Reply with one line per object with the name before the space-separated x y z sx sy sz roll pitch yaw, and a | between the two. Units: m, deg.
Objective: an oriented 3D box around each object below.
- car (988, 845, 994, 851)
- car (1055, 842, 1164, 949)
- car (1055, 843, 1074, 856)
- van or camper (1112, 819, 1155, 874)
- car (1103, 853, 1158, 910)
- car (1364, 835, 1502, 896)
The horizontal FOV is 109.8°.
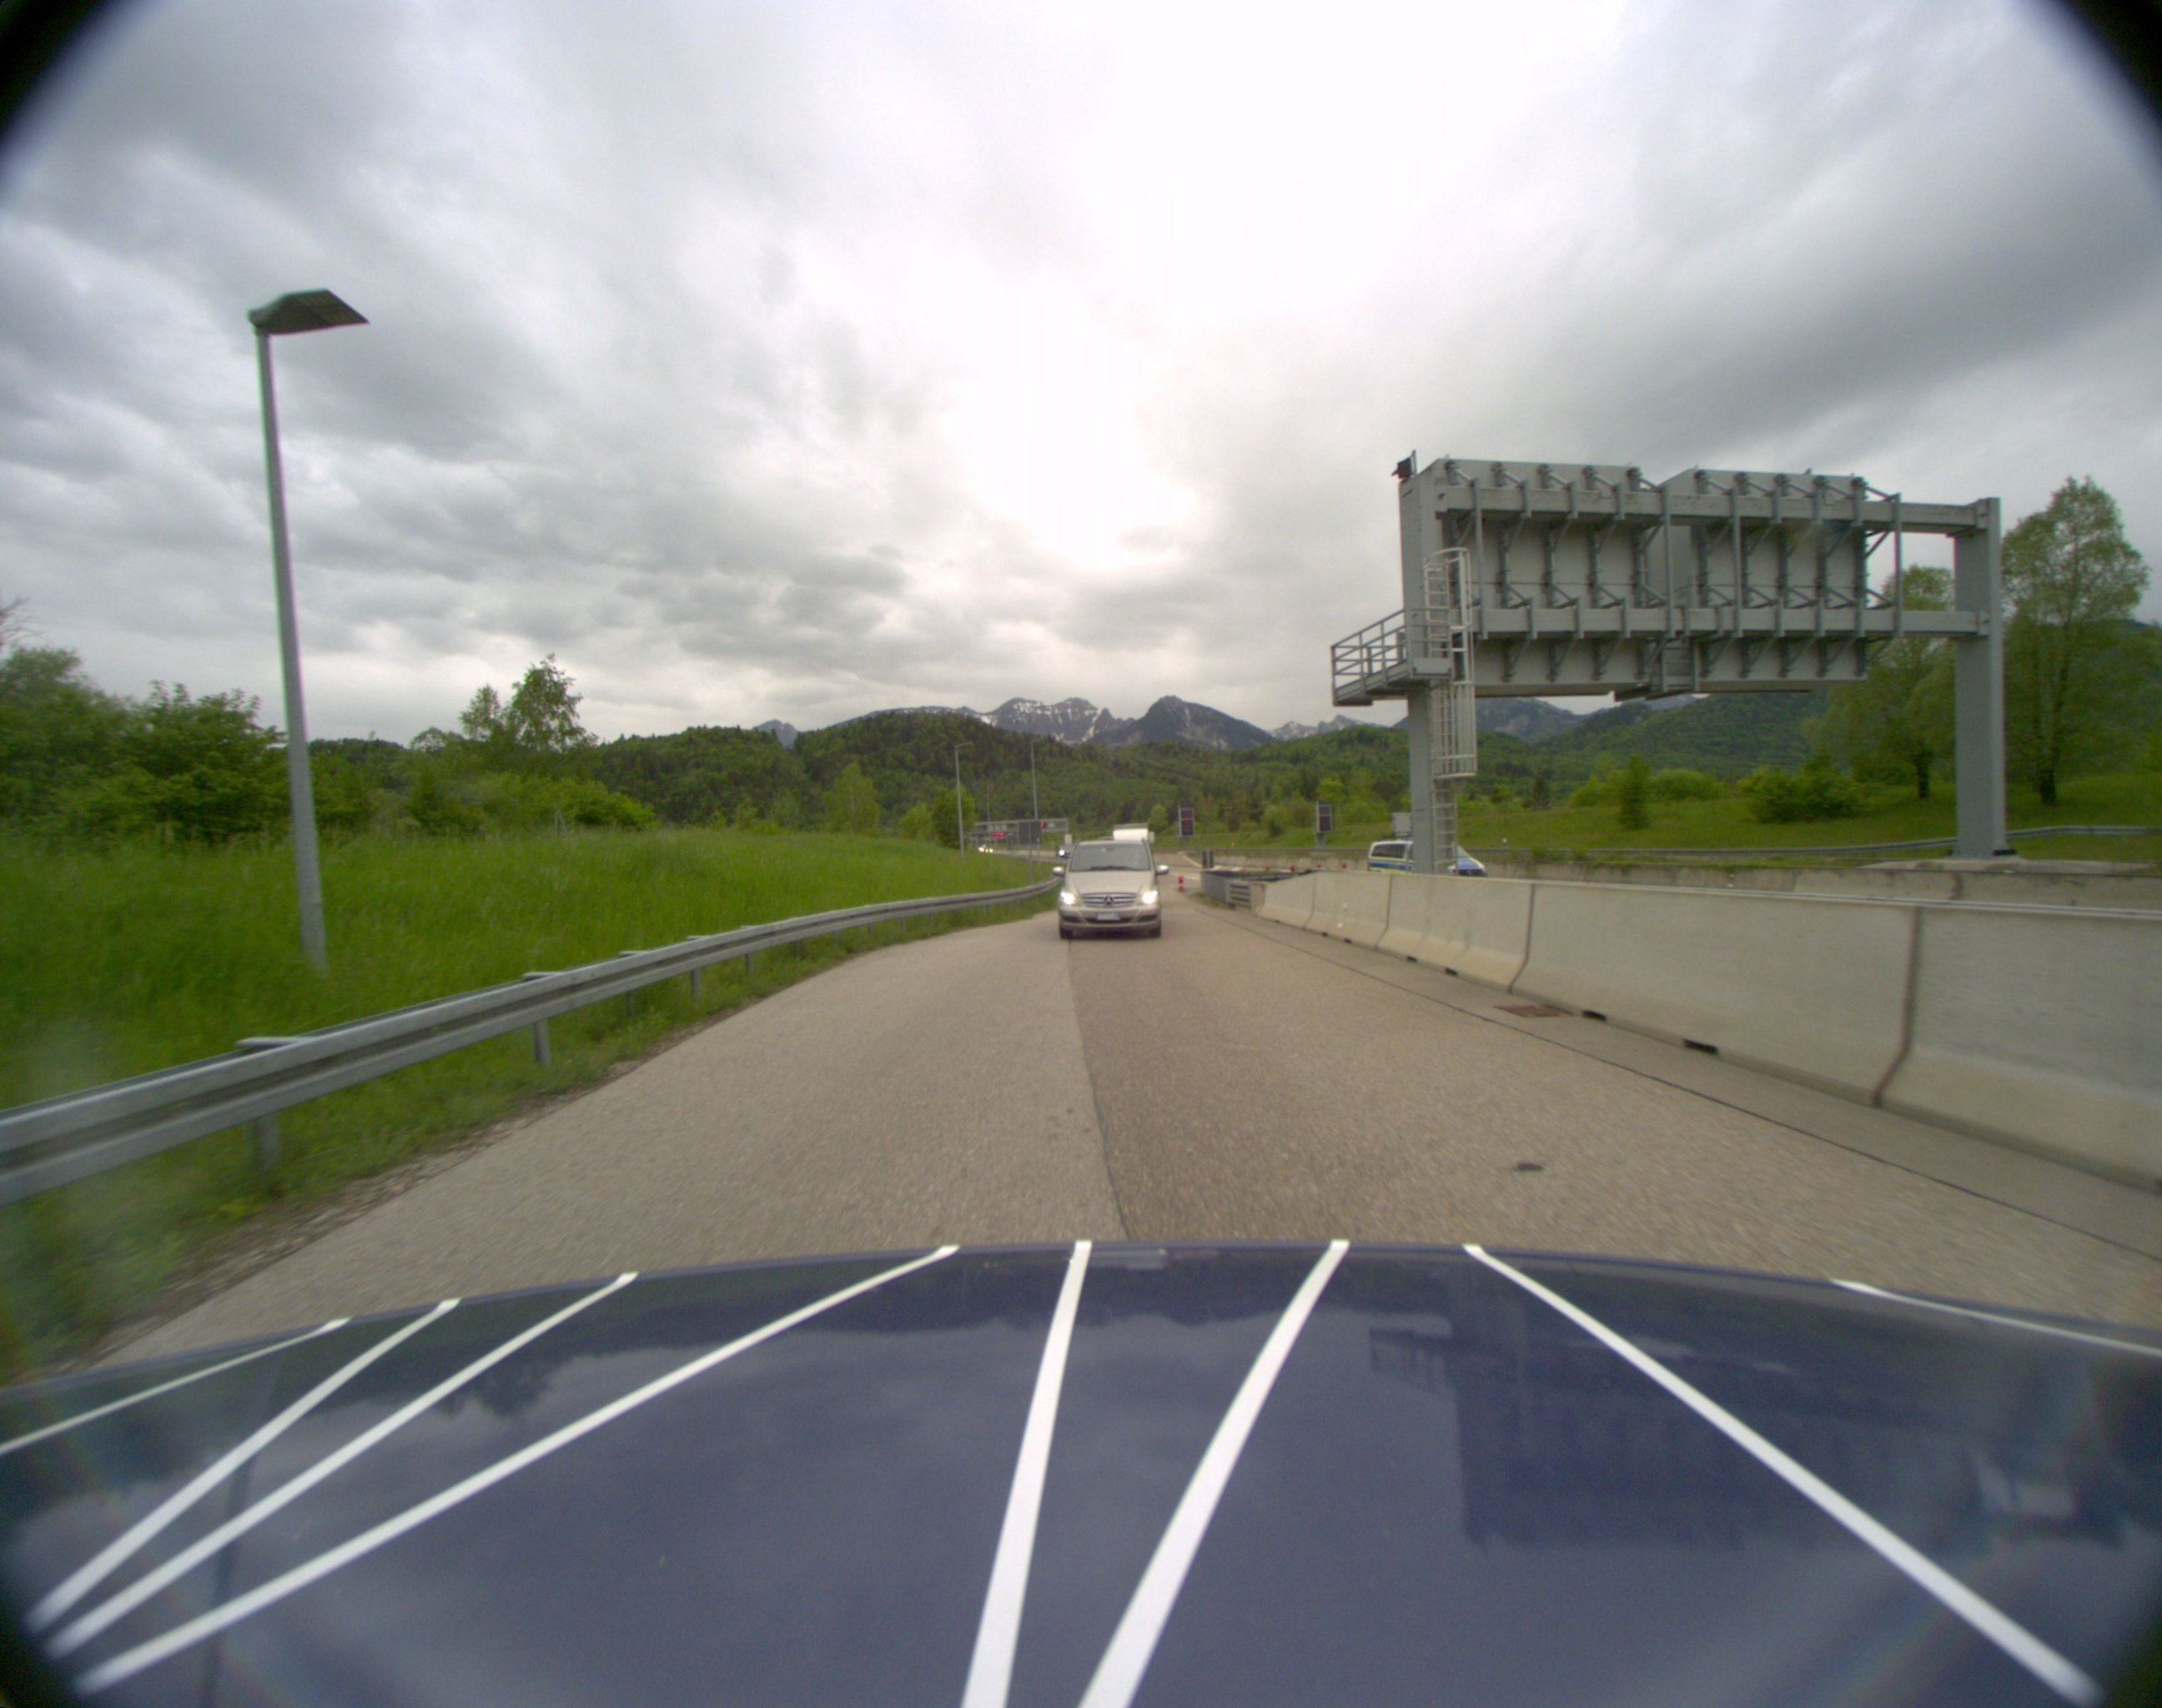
car | -28.204 -1.865 238.361 1.738 1.646 3.996 -1 1 -10
car | 0.669 0.684 15.887 1.861 1.833 5.618 0 1 4
car | -2.211 -0.590 102.196 1.722 1.629 4.343 -1 1 -12
van or camper | 3.471 -0.503 50.214 2.581 3.372 7.356 -1 1 4
car | 1.598 0.813 24.352 1.590 1.662 4.001 -1 0 4
car | 12.781 0.360 28.028 2.105 2.002 5.047 -1 1 -10
